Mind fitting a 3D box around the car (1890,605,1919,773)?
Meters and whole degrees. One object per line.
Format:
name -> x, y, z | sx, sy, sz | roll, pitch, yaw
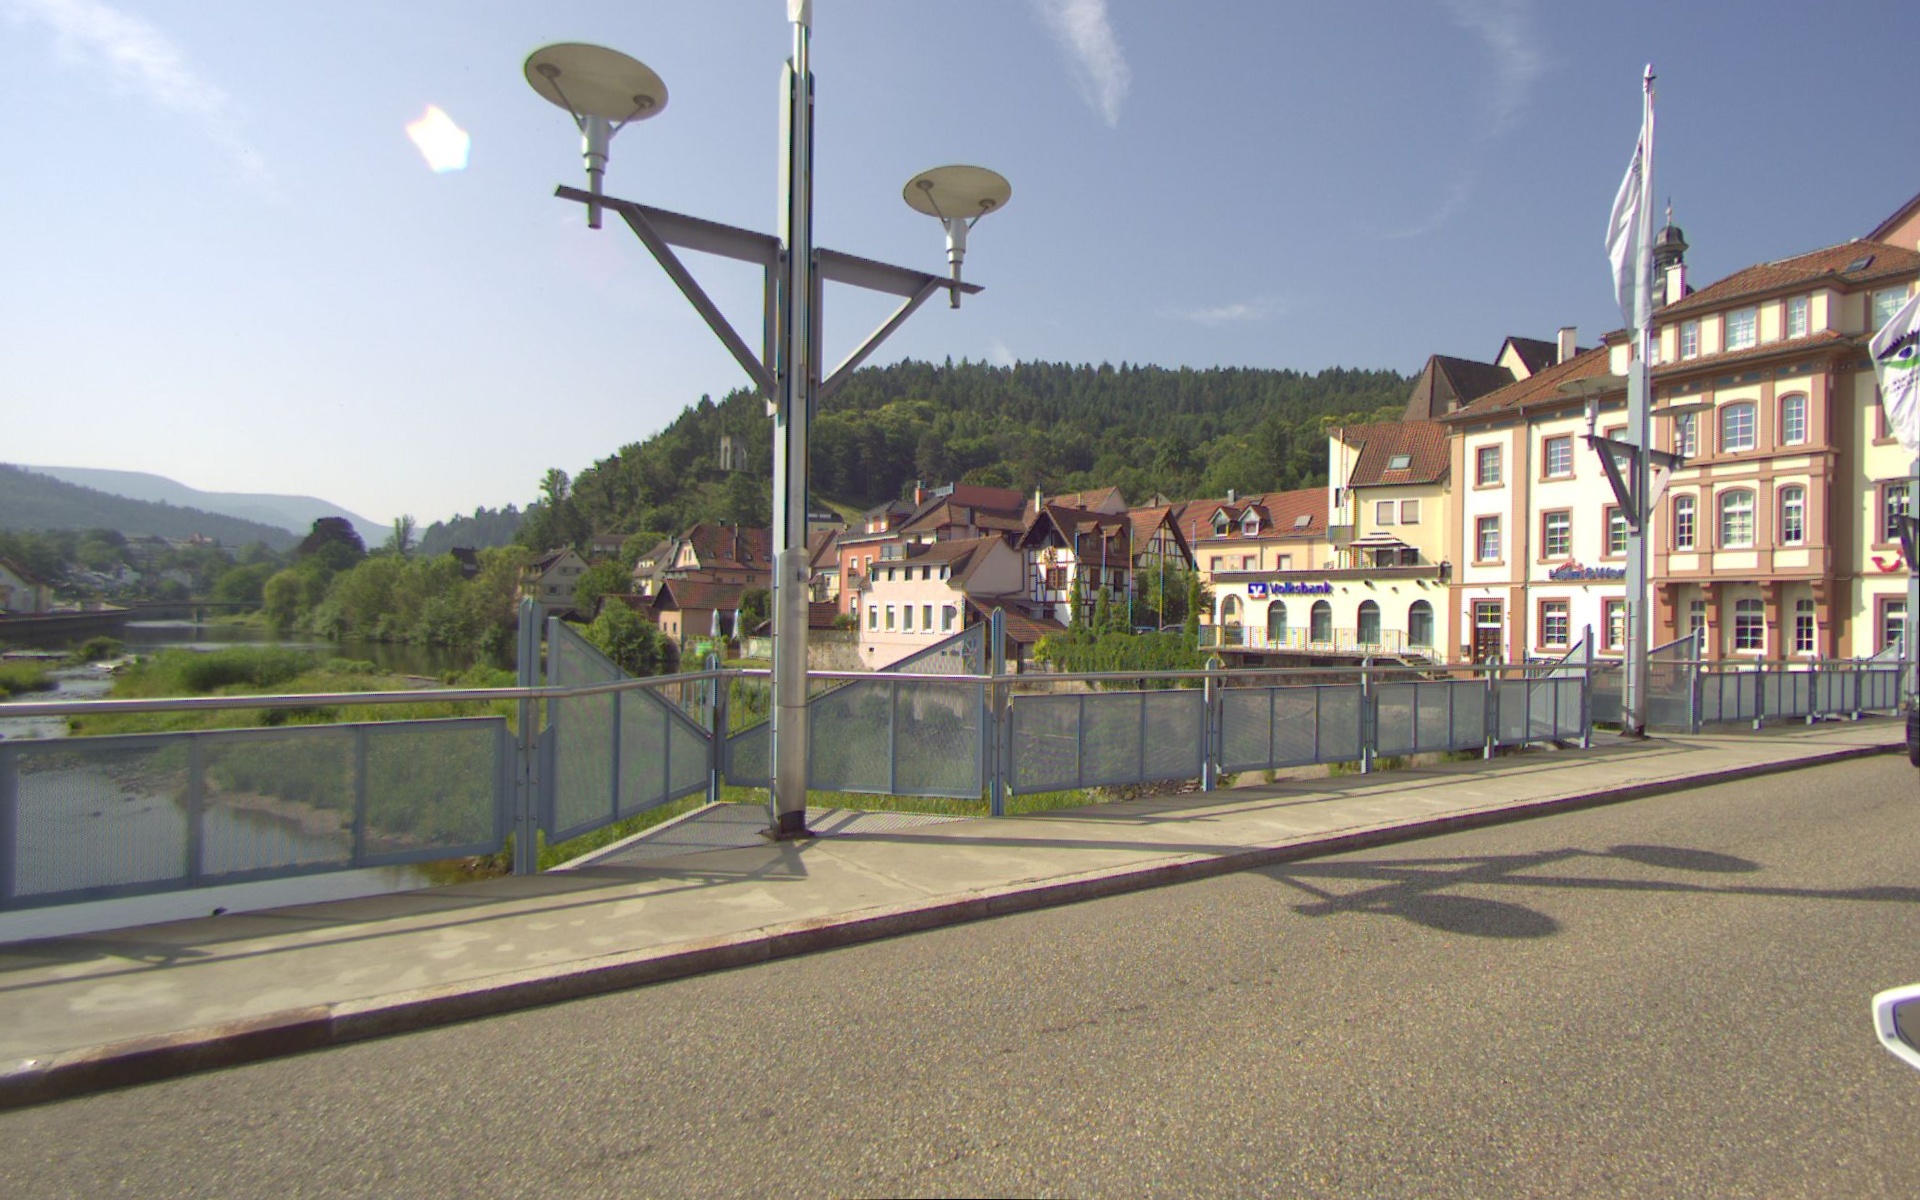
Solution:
car -> 12.707, 1.007, 11.685 | 4.648, 1.816, 1.766 | 1, 0, -34
